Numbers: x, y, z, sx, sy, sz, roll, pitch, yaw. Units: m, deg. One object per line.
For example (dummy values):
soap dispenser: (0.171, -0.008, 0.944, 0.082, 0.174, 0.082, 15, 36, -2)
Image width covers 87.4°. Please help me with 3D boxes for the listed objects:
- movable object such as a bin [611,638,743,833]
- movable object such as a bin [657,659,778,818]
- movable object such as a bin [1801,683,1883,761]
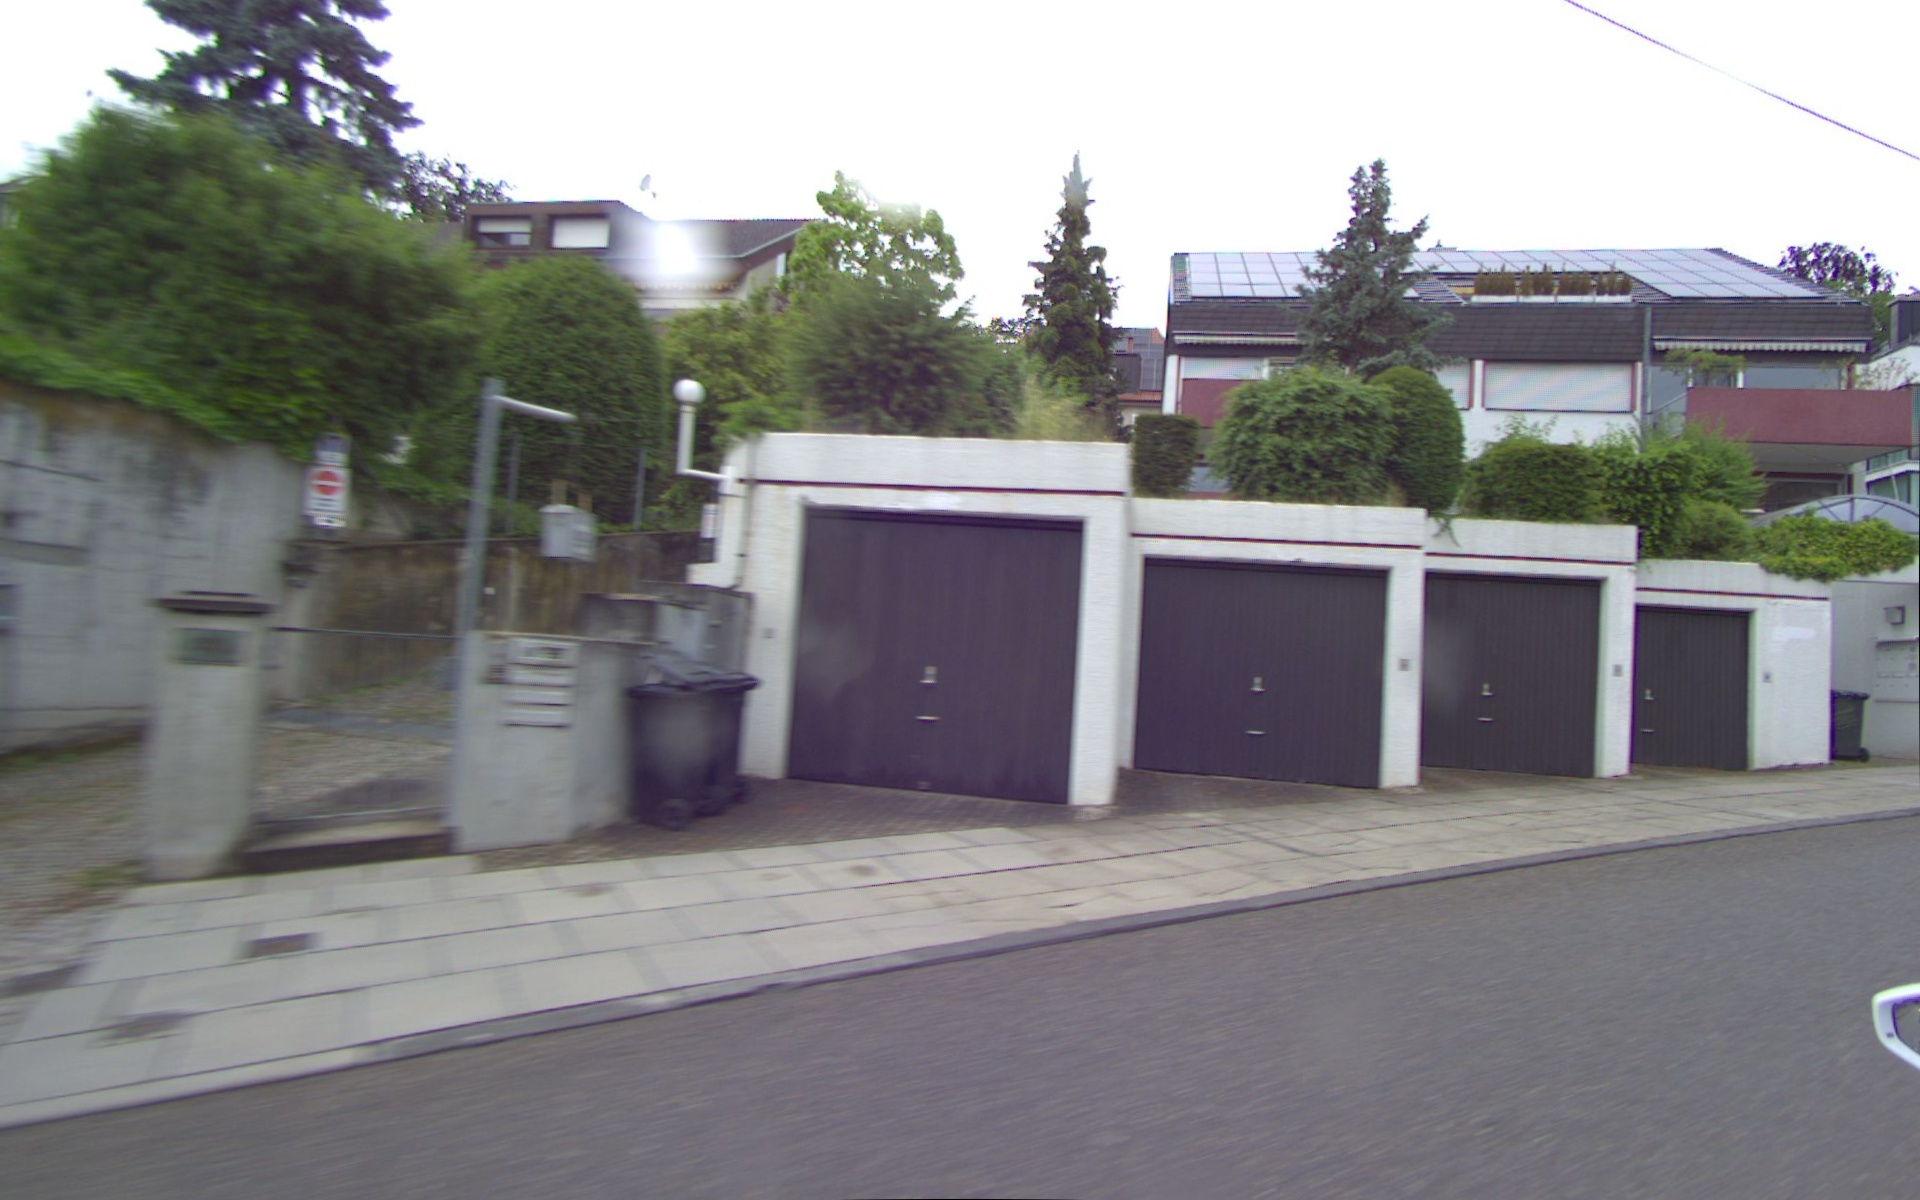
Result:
movable object such as a bin: (-1.823, 0.849, 6.519, 0.589, 1.161, 0.529, 3, 0, 13)
movable object such as a bin: (-1.690, 0.947, 7.065, 0.589, 1.005, 0.610, 2, 0, 13)
movable object such as a bin: (11.953, 1.647, 13.624, 0.633, 0.976, 0.545, 1, -1, 8)
